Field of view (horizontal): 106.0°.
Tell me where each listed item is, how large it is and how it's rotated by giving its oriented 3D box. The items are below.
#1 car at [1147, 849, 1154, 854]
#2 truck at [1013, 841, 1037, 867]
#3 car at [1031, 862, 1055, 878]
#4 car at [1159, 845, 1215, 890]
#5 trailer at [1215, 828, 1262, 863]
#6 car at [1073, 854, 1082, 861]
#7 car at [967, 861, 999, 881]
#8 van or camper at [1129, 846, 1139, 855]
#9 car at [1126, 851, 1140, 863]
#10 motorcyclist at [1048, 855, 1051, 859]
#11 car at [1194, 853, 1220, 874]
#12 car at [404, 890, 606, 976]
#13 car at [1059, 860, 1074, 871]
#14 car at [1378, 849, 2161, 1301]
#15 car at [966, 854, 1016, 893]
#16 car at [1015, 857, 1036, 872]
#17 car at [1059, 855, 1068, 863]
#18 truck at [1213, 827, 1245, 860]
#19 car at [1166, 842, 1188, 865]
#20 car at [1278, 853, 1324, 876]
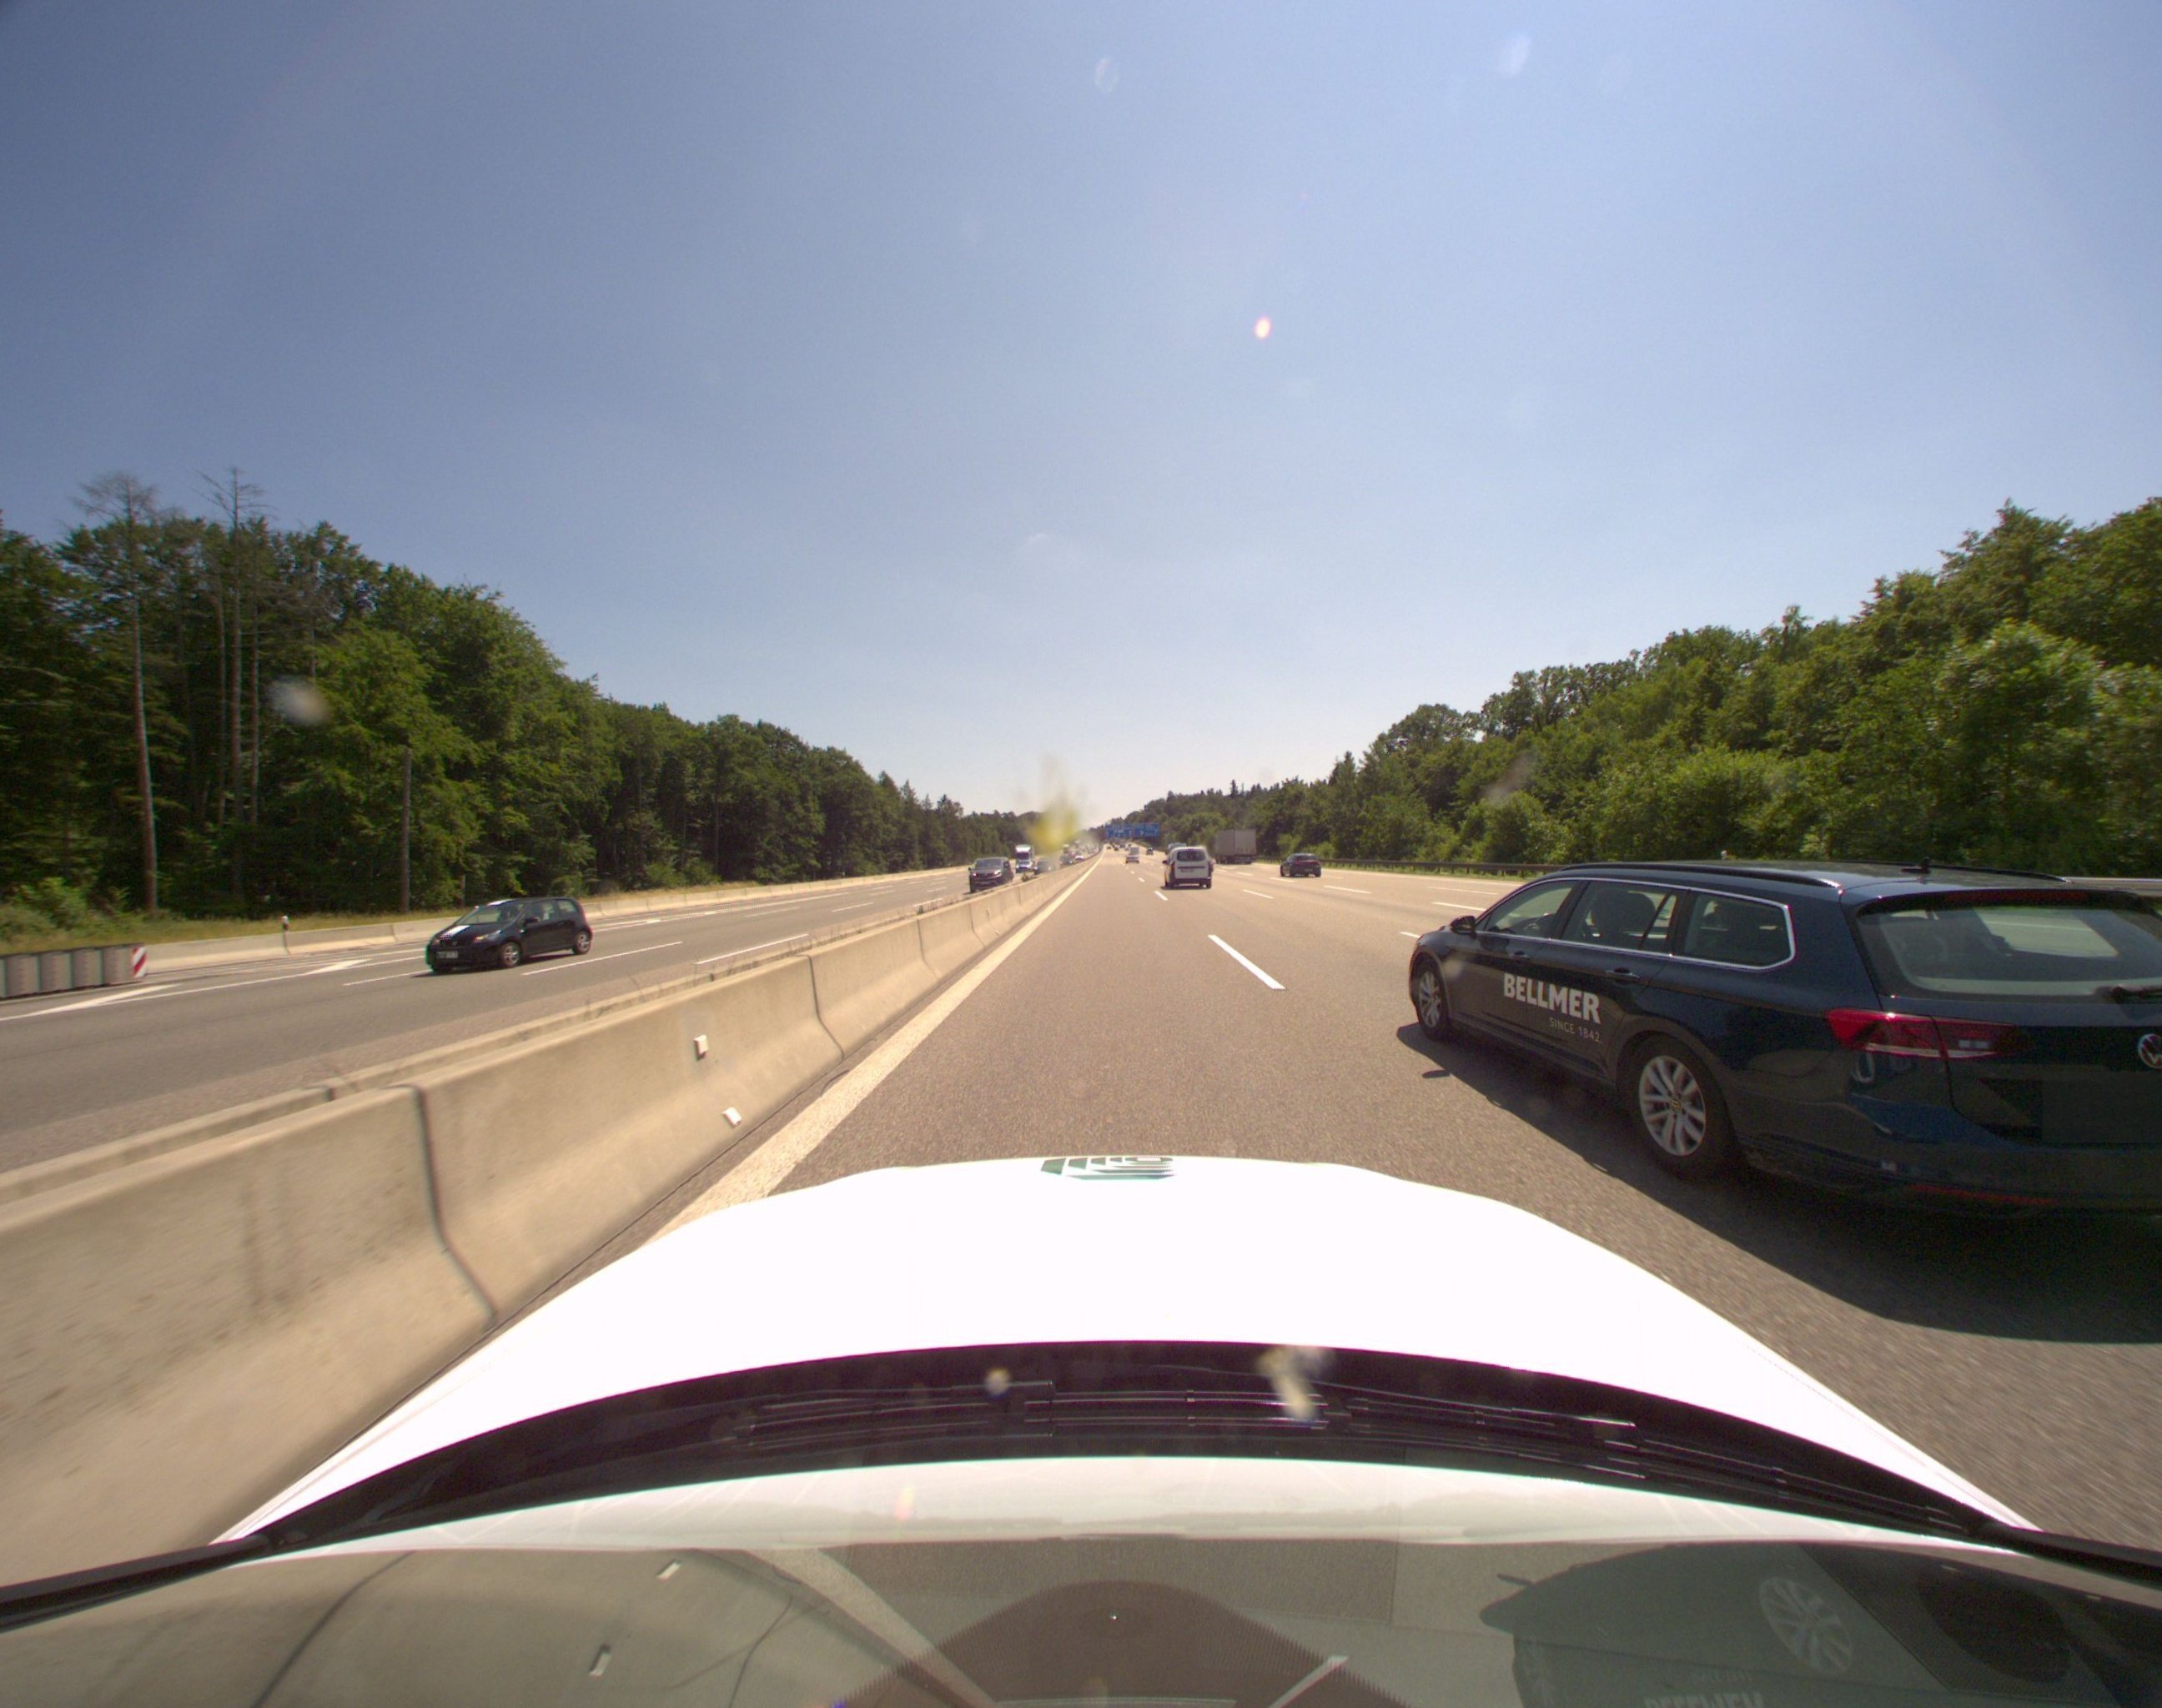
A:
[{"bbox_3d":[18.980,-0.723,222.304,1.828,1.338,3.645,-3,0,2],"label":"car"},{"bbox_3d":[-9.132,-0.008,133.636,2.847,4.012,9.472,-3,0,2],"label":"truck"},{"bbox_3d":[-3.758,1.572,81.007,1.906,1.464,4.589,-3,-1,2],"label":"car"},{"bbox_3d":[4.682,0.566,36.565,1.853,1.825,4.612,-3,0,1],"label":"car"},{"bbox_3d":[18.844,-1.046,98.491,3.275,3.930,13.895,-1,1,1],"label":"trailer"},{"bbox_3d":[-0.681,0.798,177.681,1.818,1.394,4.464,-3,0,0],"label":"car"},{"bbox_3d":[-7.827,1.336,65.245,1.754,1.464,4.841,-3,0,2],"label":"car"},{"bbox_3d":[14.952,-1.027,229.613,2.635,2.538,6.505,-3,0,2],"label":"van or camper"},{"bbox_3d":[7.343,0.427,115.503,1.836,1.629,4.555,-3,0,2],"label":"car"},{"bbox_3d":[-9.368,0.929,245.393,0.757,1.301,1.078,-3,1,2],"label":"motorcyclist"},{"bbox_3d":[9.685,0.696,62.847,1.498,1.500,3.651,-3,0,1],"label":"car"},{"bbox_3d":[-13.012,1.707,18.727,1.747,1.486,3.815,-4,0,1],"label":"car"},{"bbox_3d":[-2.107,1.663,117.281,1.906,1.464,4.365,-3,-1,2],"label":"car"},{"bbox_3d":[3.546,0.716,5.131,1.722,1.447,4.964,-1,0,3],"label":"car"},{"bbox_3d":[-4.944,1.020,45.700,1.891,1.953,5.659,-3,0,2],"label":"car"},{"bbox_3d":[-6.587,1.216,96.687,1.906,1.512,5.234,-4,0,2],"label":"car"},{"bbox_3d":[-3.793,1.087,176.732,1.696,1.427,4.614,-3,0,1],"label":"car"},{"bbox_3d":[19.017,-1.331,104.996,3.242,4.106,5.990,-1,1,2],"label":"truck"},{"bbox_3d":[11.425,-0.128,97.152,2.135,2.652,5.713,-2,1,2],"label":"car"},{"bbox_3d":[13.086,0.642,48.645,1.664,1.273,4.292,-1,-1,2],"label":"car"}]
